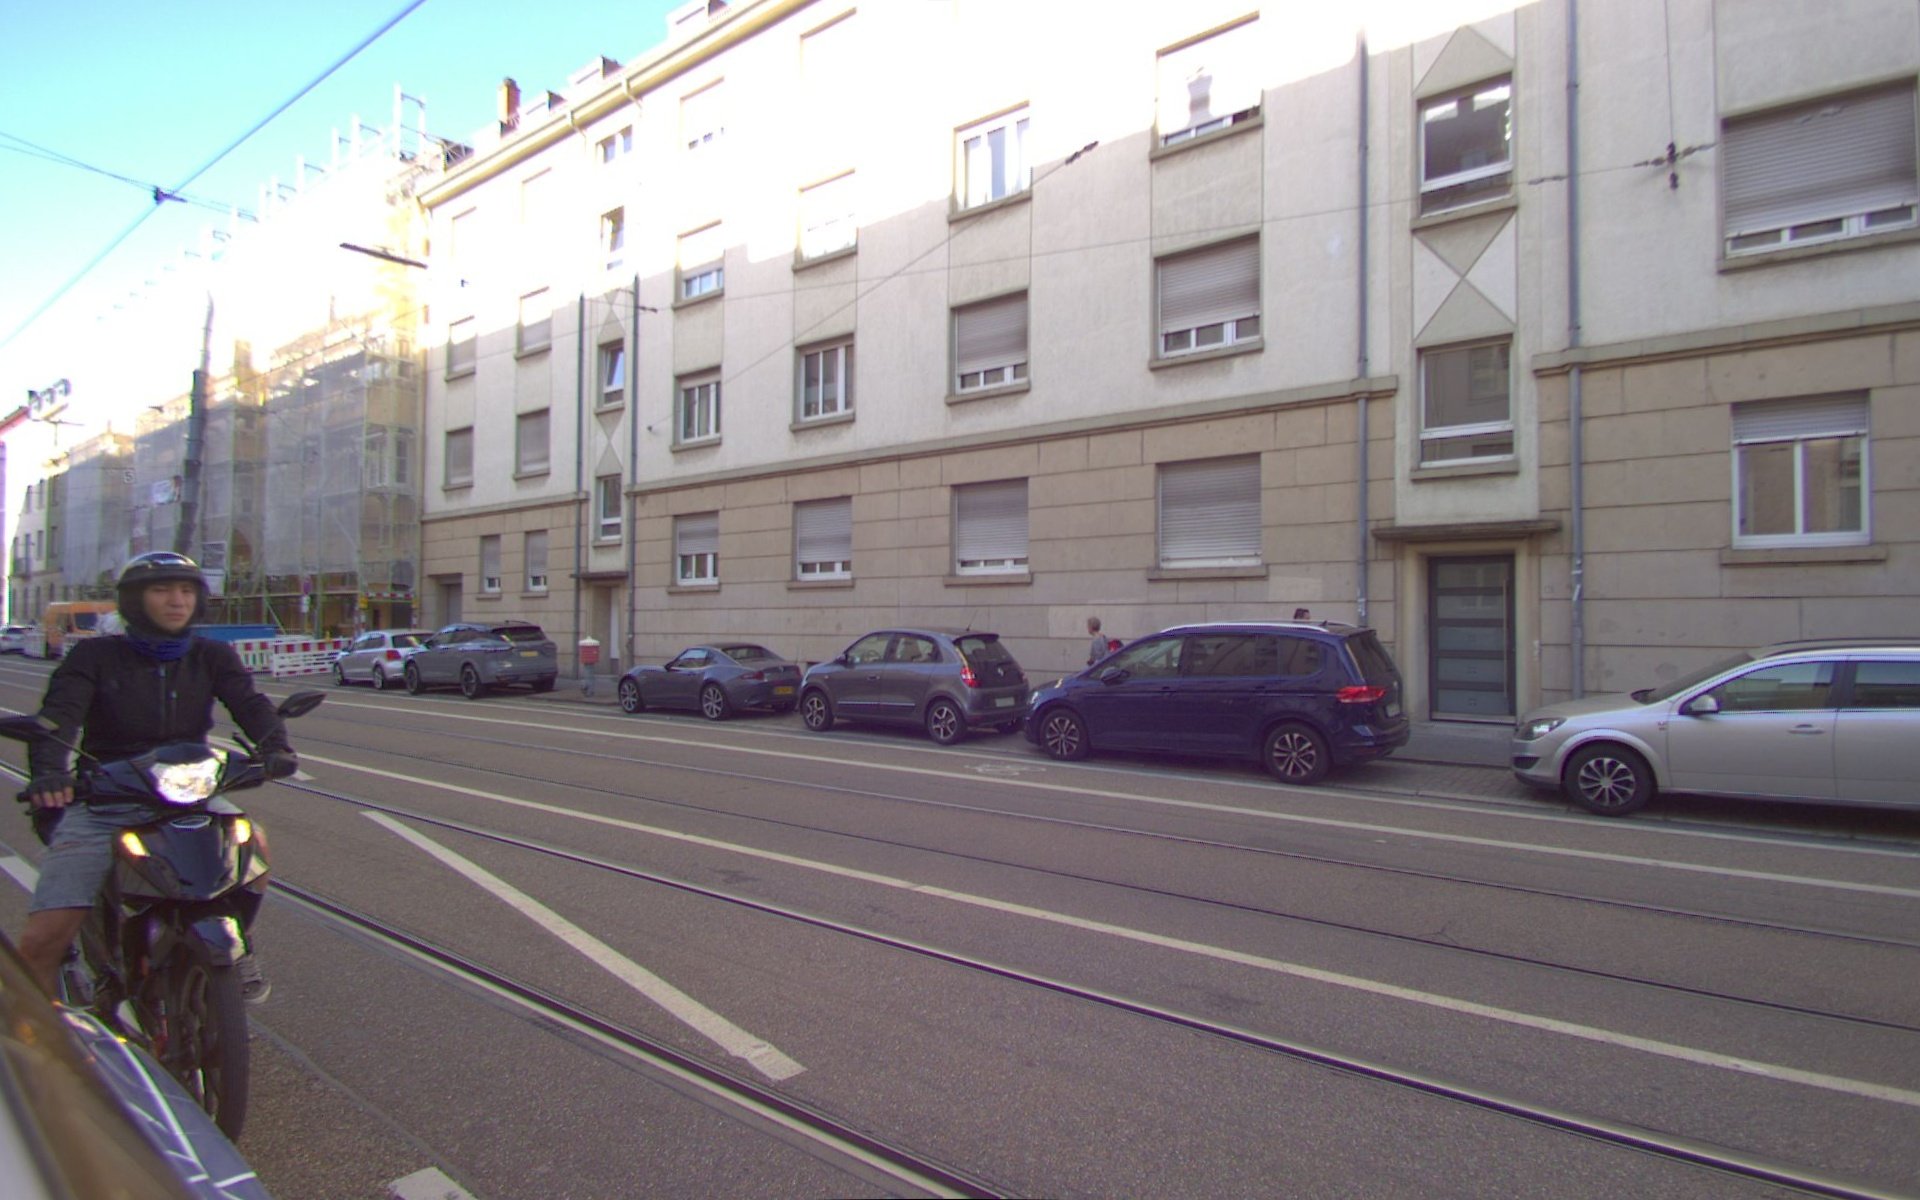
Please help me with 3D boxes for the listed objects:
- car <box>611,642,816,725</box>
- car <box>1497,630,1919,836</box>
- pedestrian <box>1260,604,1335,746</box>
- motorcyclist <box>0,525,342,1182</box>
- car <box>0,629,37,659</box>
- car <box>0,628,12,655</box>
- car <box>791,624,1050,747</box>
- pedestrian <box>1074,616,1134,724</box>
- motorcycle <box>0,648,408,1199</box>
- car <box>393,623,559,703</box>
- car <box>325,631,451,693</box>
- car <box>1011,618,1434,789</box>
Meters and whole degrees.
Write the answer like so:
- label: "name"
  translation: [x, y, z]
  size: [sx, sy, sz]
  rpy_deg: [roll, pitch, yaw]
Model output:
- label: "car"
  translation: [-4.314, 1.371, 17.503]
  size: [3.681, 1.244, 1.502]
  rpy_deg: [-1, -1, 38]
- label: "car"
  translation: [7.126, 1.007, 8.504]
  size: [4.383, 1.489, 1.779]
  rpy_deg: [-1, -1, 38]
- label: "pedestrian"
  translation: [4.240, 0.924, 12.717]
  size: [0.729, 1.722, 0.597]
  rpy_deg: [-2, -3, 39]
- label: "motorcyclist"
  translation: [-2.543, 0.661, 3.162]
  size: [0.899, 1.668, 0.781]
  rpy_deg: [-2, -3, 41]
- label: "car"
  translation: [-50.065, 2.279, 53.344]
  size: [3.964, 1.498, 1.662]
  rpy_deg: [-2, -1, 42]
- label: "car"
  translation: [-54.581, 2.335, 56.820]
  size: [3.964, 1.498, 1.662]
  rpy_deg: [-2, -1, 42]
- label: "car"
  translation: [-0.628, 1.138, 14.657]
  size: [3.535, 1.539, 1.659]
  rpy_deg: [-1, -1, 38]
- label: "pedestrian"
  translation: [2.143, 1.022, 15.060]
  size: [0.693, 1.553, 0.563]
  rpy_deg: [-2, -3, 39]
- label: "motorcycle"
  translation: [-2.640, 0.823, 3.239]
  size: [2.272, 1.302, 0.781]
  rpy_deg: [-2, -3, 41]
- label: "car"
  translation: [-10.883, 1.340, 22.662]
  size: [4.201, 1.611, 1.675]
  rpy_deg: [-1, -1, 38]
- label: "car"
  translation: [-14.384, 1.504, 25.399]
  size: [3.506, 1.423, 1.524]
  rpy_deg: [-1, -1, 38]
- label: "car"
  translation: [2.892, 1.037, 11.678]
  size: [4.383, 1.611, 1.779]
  rpy_deg: [-1, -1, 38]
